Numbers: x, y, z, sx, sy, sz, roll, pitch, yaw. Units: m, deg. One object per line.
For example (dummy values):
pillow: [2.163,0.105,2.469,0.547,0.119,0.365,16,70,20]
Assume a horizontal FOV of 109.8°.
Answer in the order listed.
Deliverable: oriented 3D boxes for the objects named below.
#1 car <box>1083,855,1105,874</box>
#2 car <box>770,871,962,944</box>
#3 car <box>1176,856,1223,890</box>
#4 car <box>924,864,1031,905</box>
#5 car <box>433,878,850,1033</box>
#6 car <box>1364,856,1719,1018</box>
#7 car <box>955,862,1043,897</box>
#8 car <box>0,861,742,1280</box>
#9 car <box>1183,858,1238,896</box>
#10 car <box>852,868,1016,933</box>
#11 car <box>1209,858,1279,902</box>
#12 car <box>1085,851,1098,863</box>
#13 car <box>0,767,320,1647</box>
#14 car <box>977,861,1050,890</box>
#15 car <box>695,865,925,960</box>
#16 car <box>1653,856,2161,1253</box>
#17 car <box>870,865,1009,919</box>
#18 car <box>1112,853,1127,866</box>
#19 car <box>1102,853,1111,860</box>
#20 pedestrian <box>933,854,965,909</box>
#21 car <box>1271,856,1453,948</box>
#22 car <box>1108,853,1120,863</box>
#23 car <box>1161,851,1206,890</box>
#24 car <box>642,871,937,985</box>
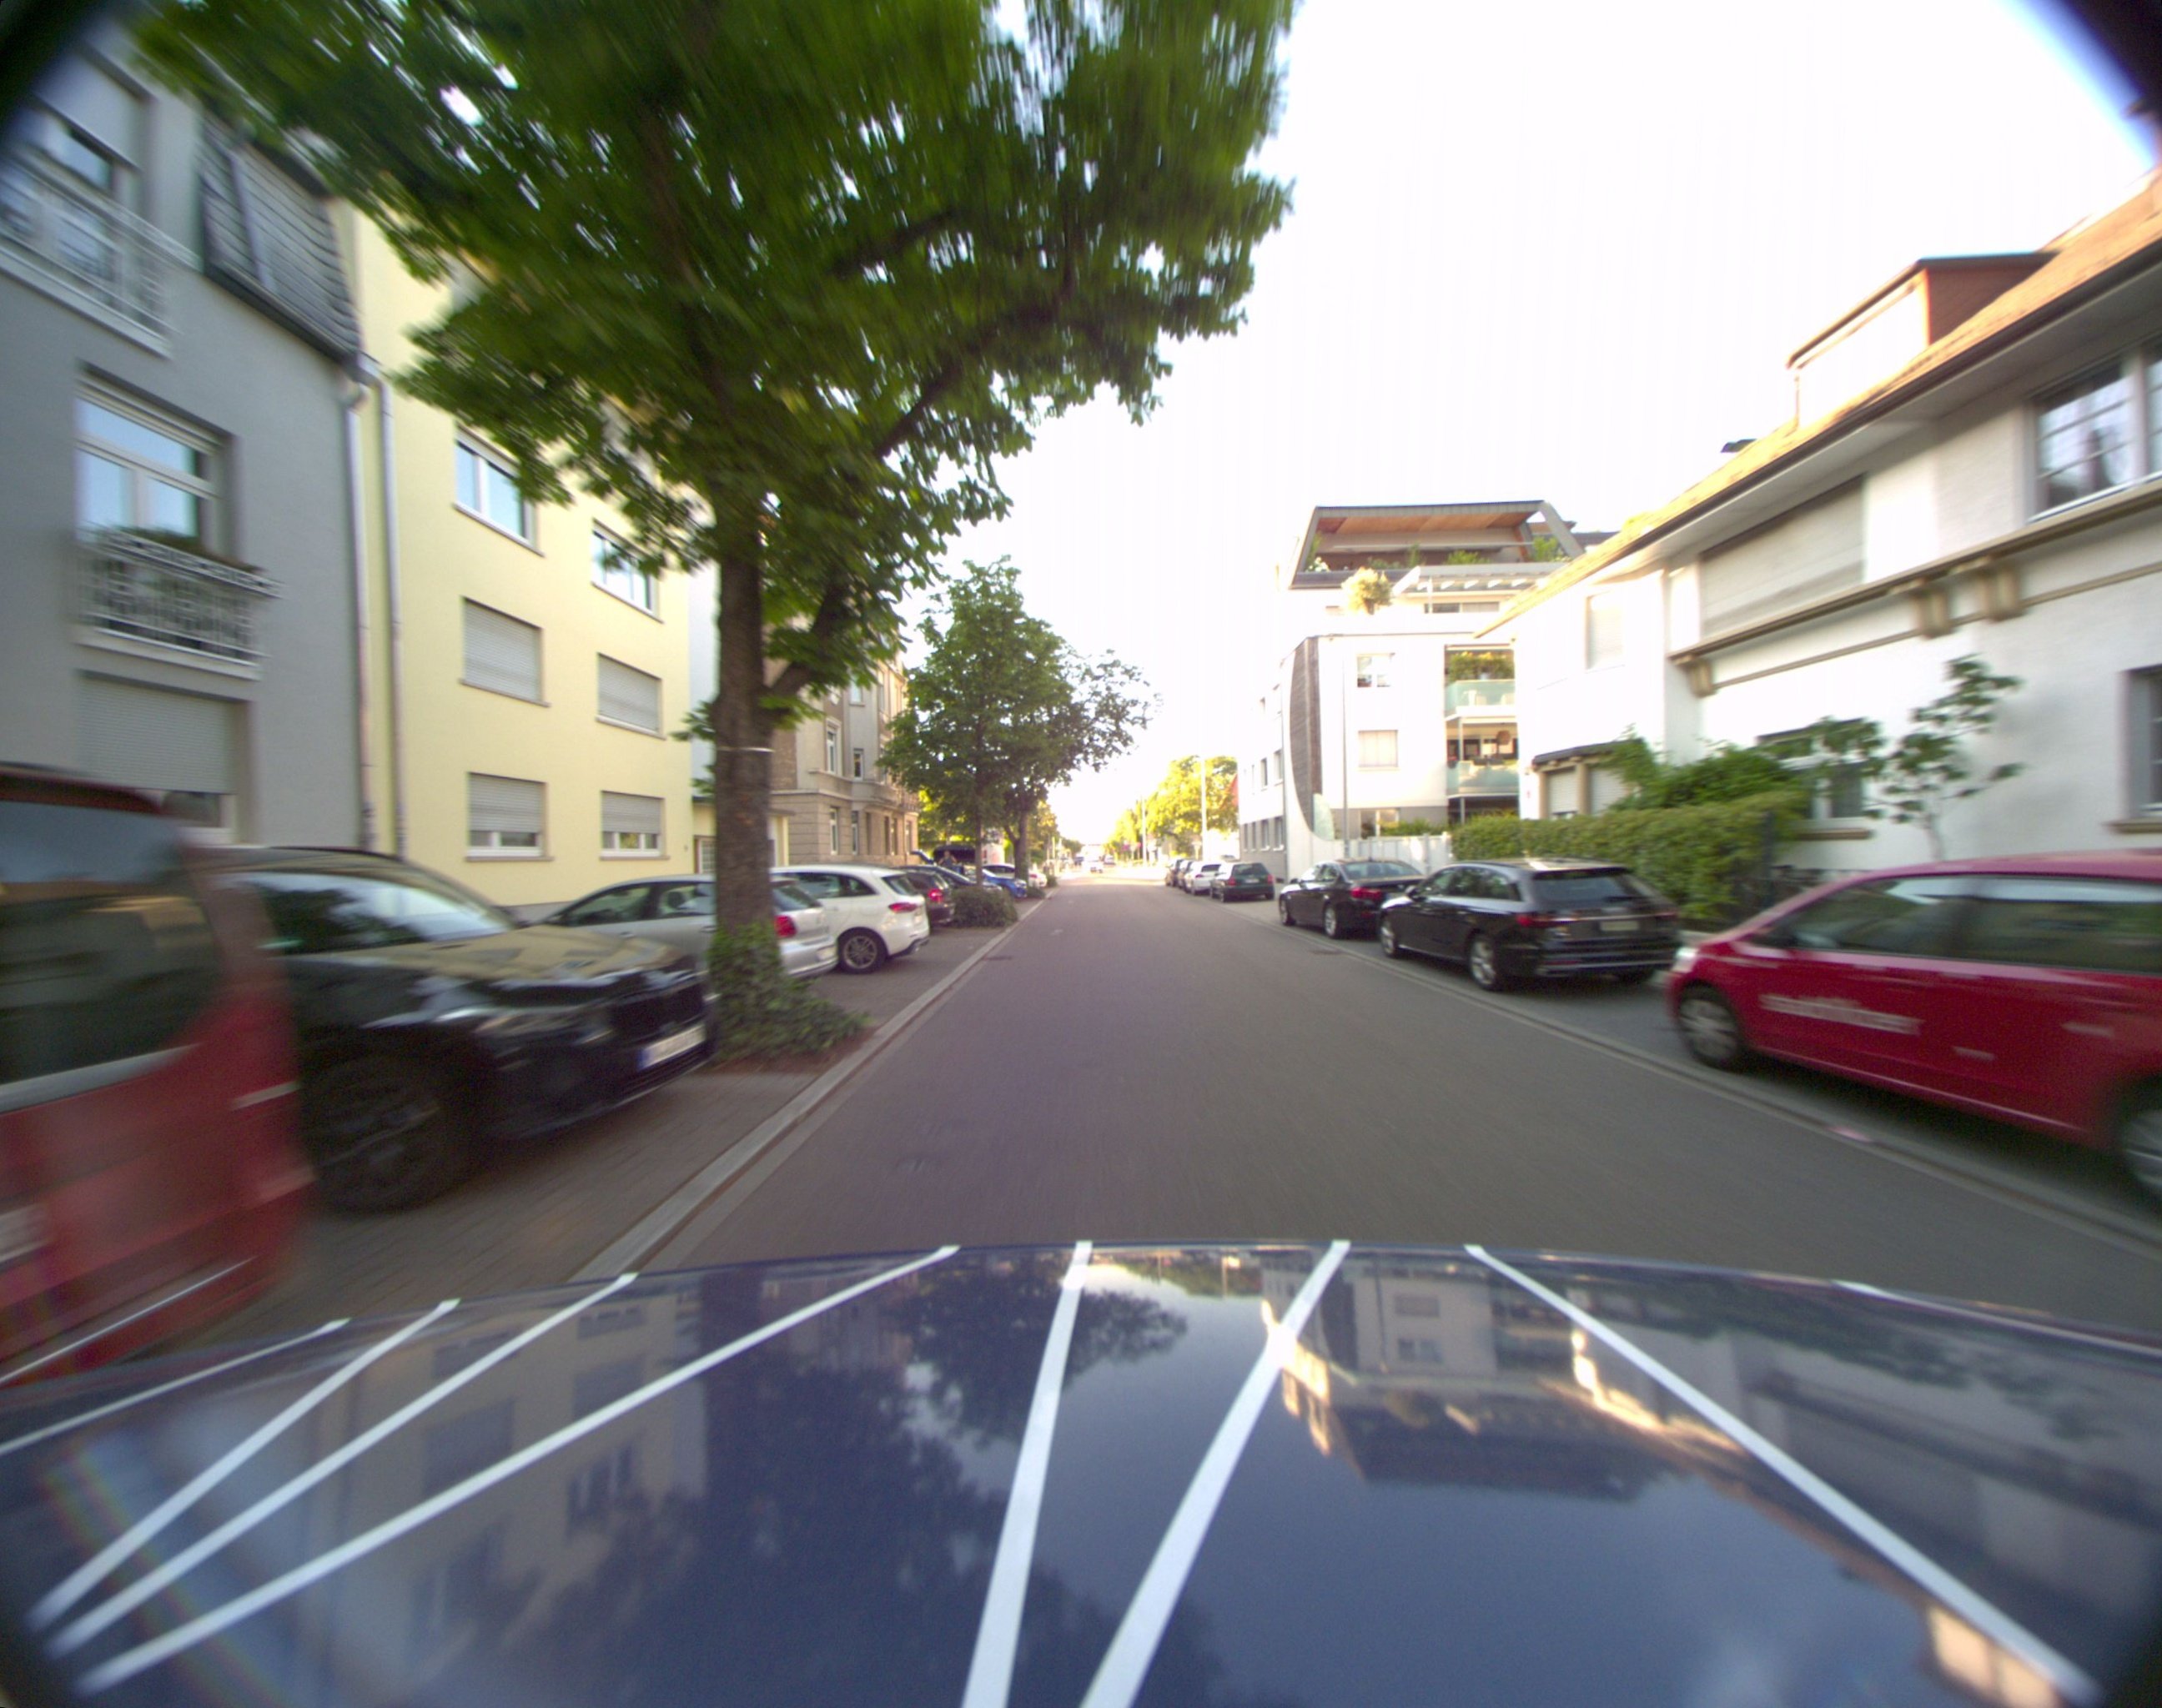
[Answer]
car: [1.241,0.997,74.283,1.998,1.690,4.424,-2,0,0]
car: [-4.586,1.124,16.556,3.680,1.434,1.601,-1,0,1]
car: [5.686,0.883,36.811,1.723,1.489,3.908,-3,0,2]
car: [-3.916,1.158,29.191,3.825,1.477,1.601,-1,0,1]
car: [-4.673,1.050,8.457,3.680,1.453,1.616,-1,0,1]
car: [5.217,0.805,9.452,1.742,1.451,4.378,-3,0,1]
car: [-3.714,1.124,34.559,3.828,1.477,1.600,-1,0,-6]
car: [-4.362,0.927,4.138,4.207,1.695,1.792,-1,0,4]
car: [5.400,0.927,32.185,1.723,1.386,3.908,-3,0,2]
car: [-3.533,1.115,18.695,3.680,1.434,1.601,-1,0,1]
car: [5.704,0.871,27.038,1.723,1.386,3.908,-3,0,2]
car: [1.652,0.495,121.880,1.913,1.679,4.199,-3,0,1]
car: [-4.793,0.811,1.414,4.819,1.925,1.950,-1,0,1]
car: [-3.666,1.164,41.869,3.825,1.477,1.601,-1,0,1]
car: [-4.953,1.045,14.230,3.680,1.589,1.676,-1,0,1]
car: [5.069,0.792,3.911,1.654,1.474,3.429,-3,0,1]
car: [-4.154,1.104,22.730,3.825,1.477,1.601,-1,0,1]
car: [5.399,0.697,106.470,1.913,1.679,4.199,-3,0,1]
car: [6.116,0.609,183.080,1.913,1.679,4.199,-3,0,1]
pedestrian: [-4.893,1.011,28.306,0.999,2.002,0.981,-1,0,-2]
car: [5.323,0.822,15.121,1.743,1.451,4.564,-3,0,-2]
car: [5.991,0.754,137.574,1.913,1.679,4.199,-3,0,1]
car: [5.668,0.877,42.311,1.913,1.937,4.199,-3,0,1]
car: [-4.165,1.037,11.264,3.680,1.488,1.676,-1,0,1]
